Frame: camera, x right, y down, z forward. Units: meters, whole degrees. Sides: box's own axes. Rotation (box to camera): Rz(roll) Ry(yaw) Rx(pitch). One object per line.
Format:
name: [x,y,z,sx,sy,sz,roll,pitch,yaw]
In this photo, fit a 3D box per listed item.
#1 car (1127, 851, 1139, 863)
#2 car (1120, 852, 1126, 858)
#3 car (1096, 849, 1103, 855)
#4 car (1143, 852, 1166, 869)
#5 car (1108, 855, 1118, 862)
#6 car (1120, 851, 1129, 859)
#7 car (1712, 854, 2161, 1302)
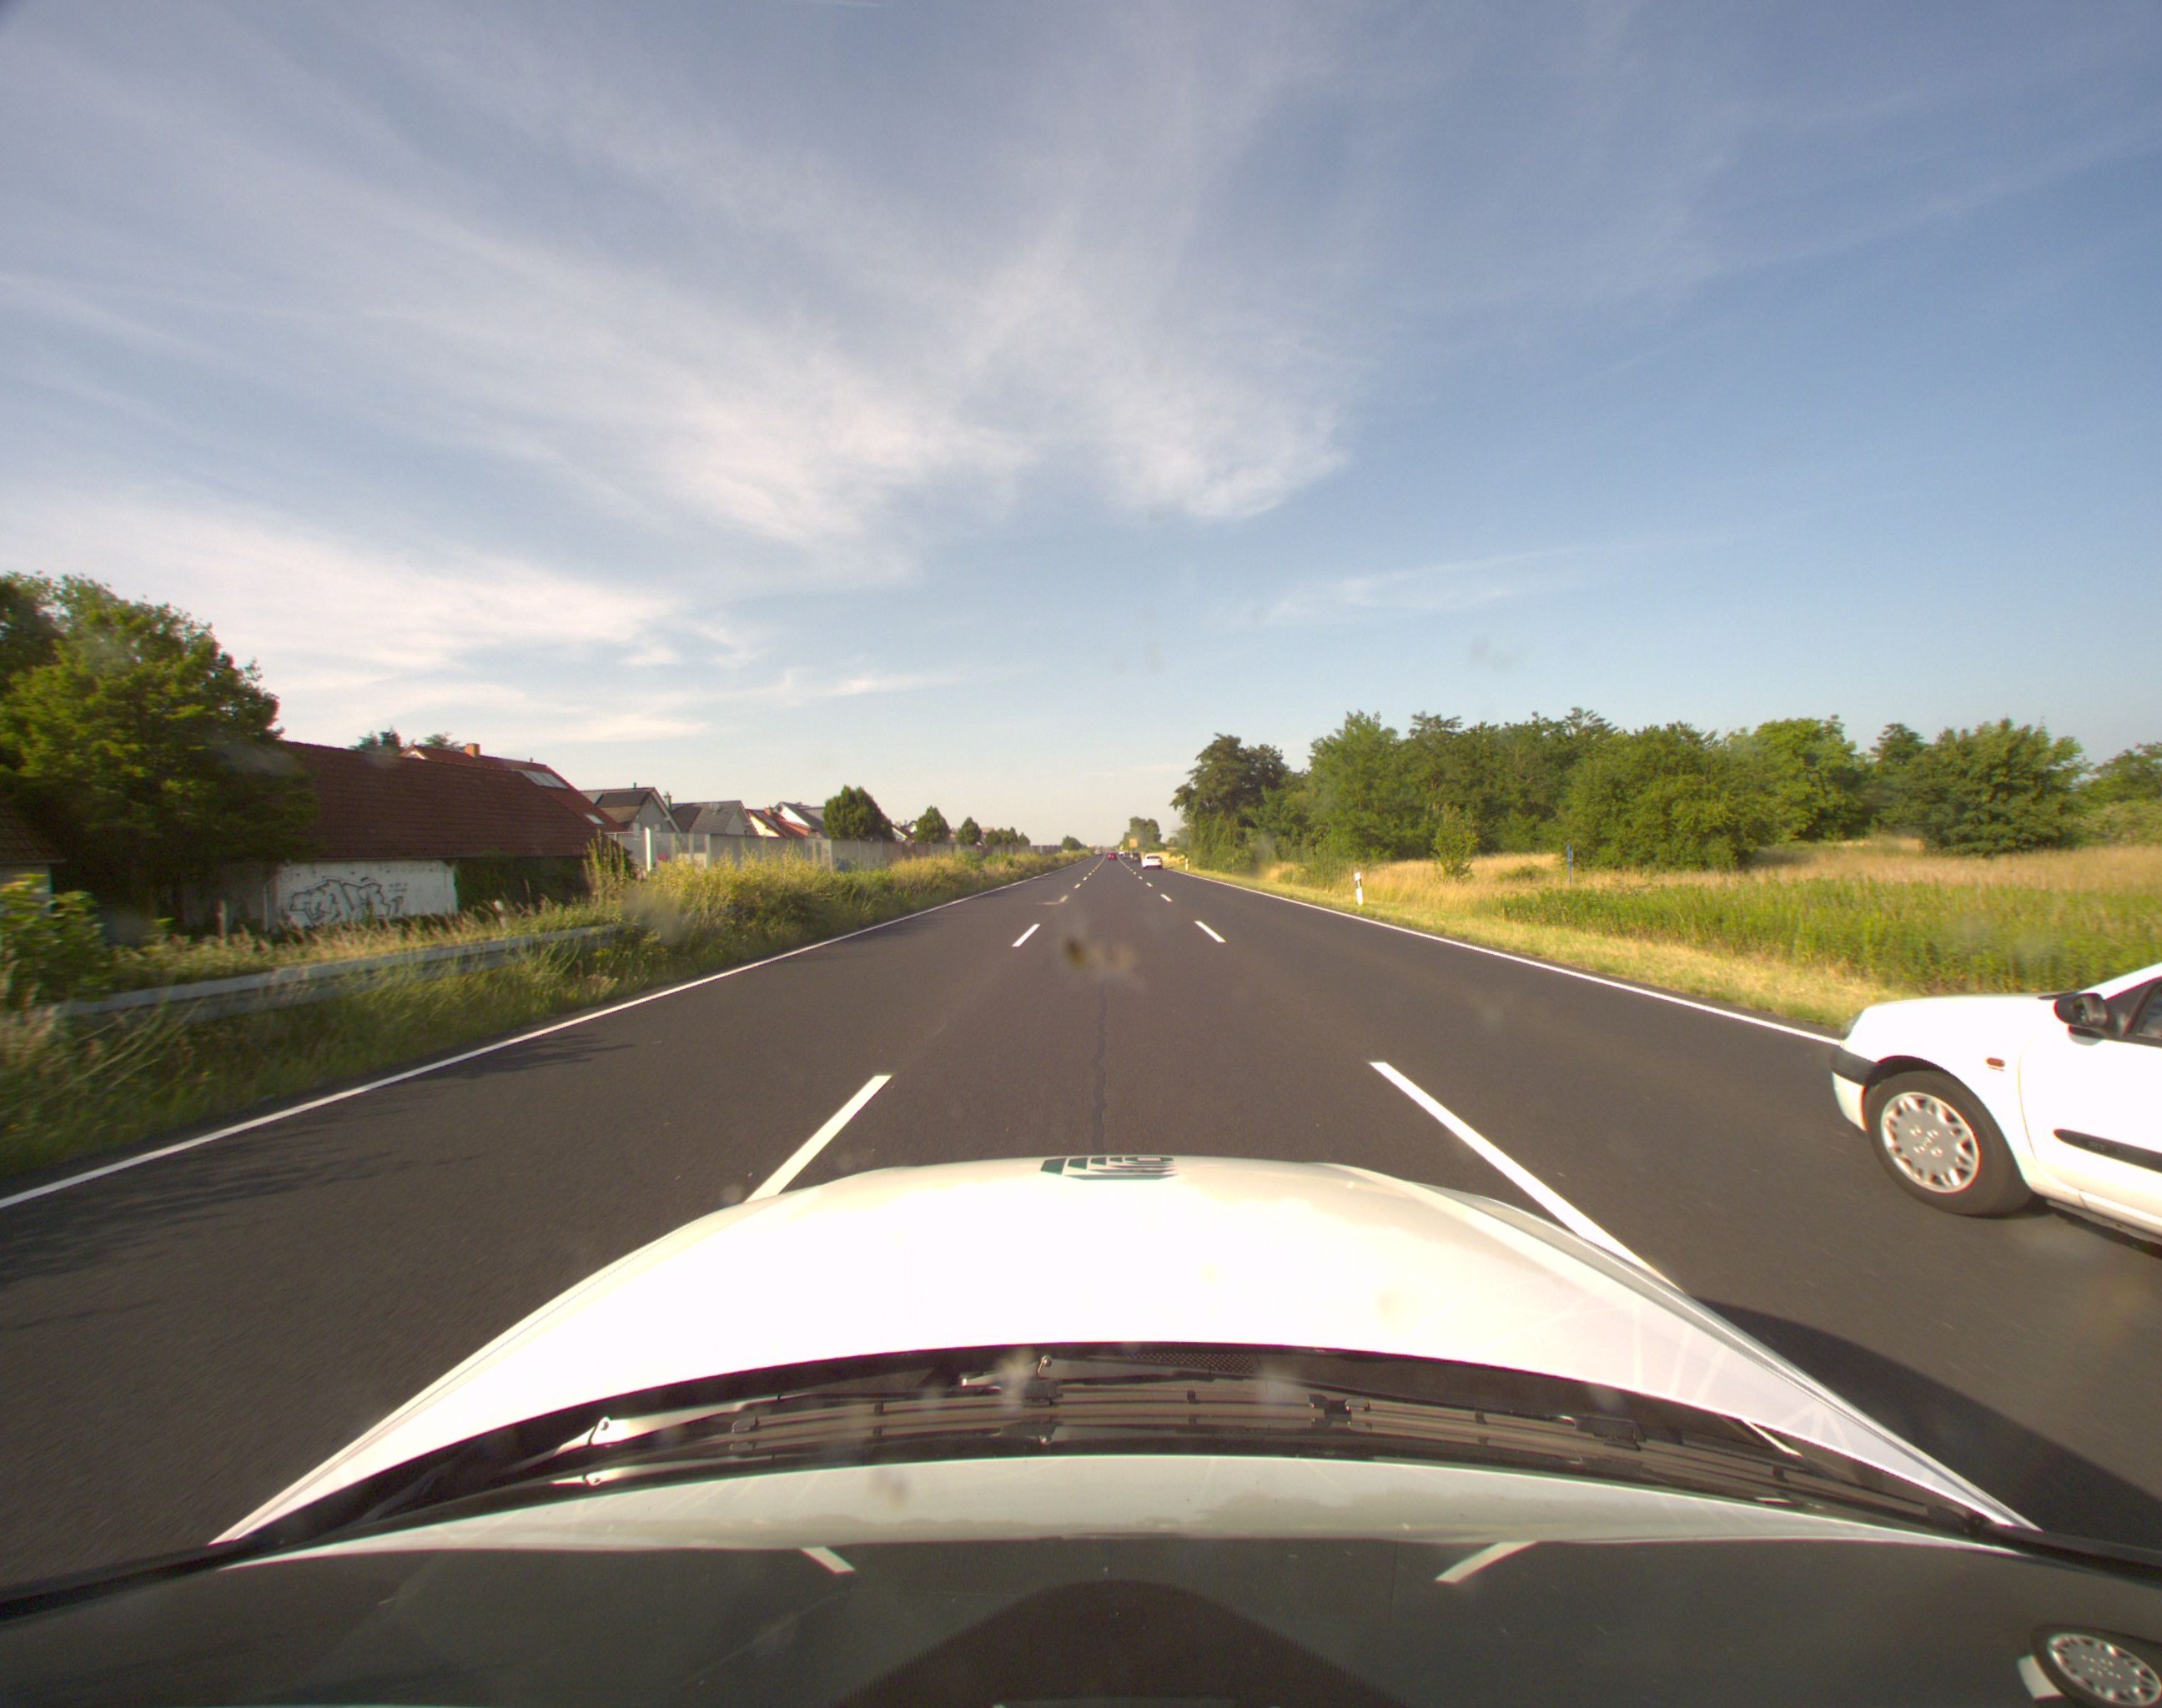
car: [8.194,0.495,128.107,1.821,1.728,4.001,-1,0,2]
car: [12.784,0.437,247.355,1.840,1.750,4.002,-1,0,2]
car: [5.449,-0.530,241.503,1.986,1.717,4.002,-1,0,2]
car: [7.150,0.629,79.543,1.986,1.516,4.002,-1,0,2]
car: [6.235,0.890,159.226,1.805,1.436,3.859,-1,0,1]
car: [9.315,0.169,174.547,1.827,1.717,3.864,-1,0,2]
car: [4.174,0.695,2.410,1.611,1.387,3.952,-1,0,1]
